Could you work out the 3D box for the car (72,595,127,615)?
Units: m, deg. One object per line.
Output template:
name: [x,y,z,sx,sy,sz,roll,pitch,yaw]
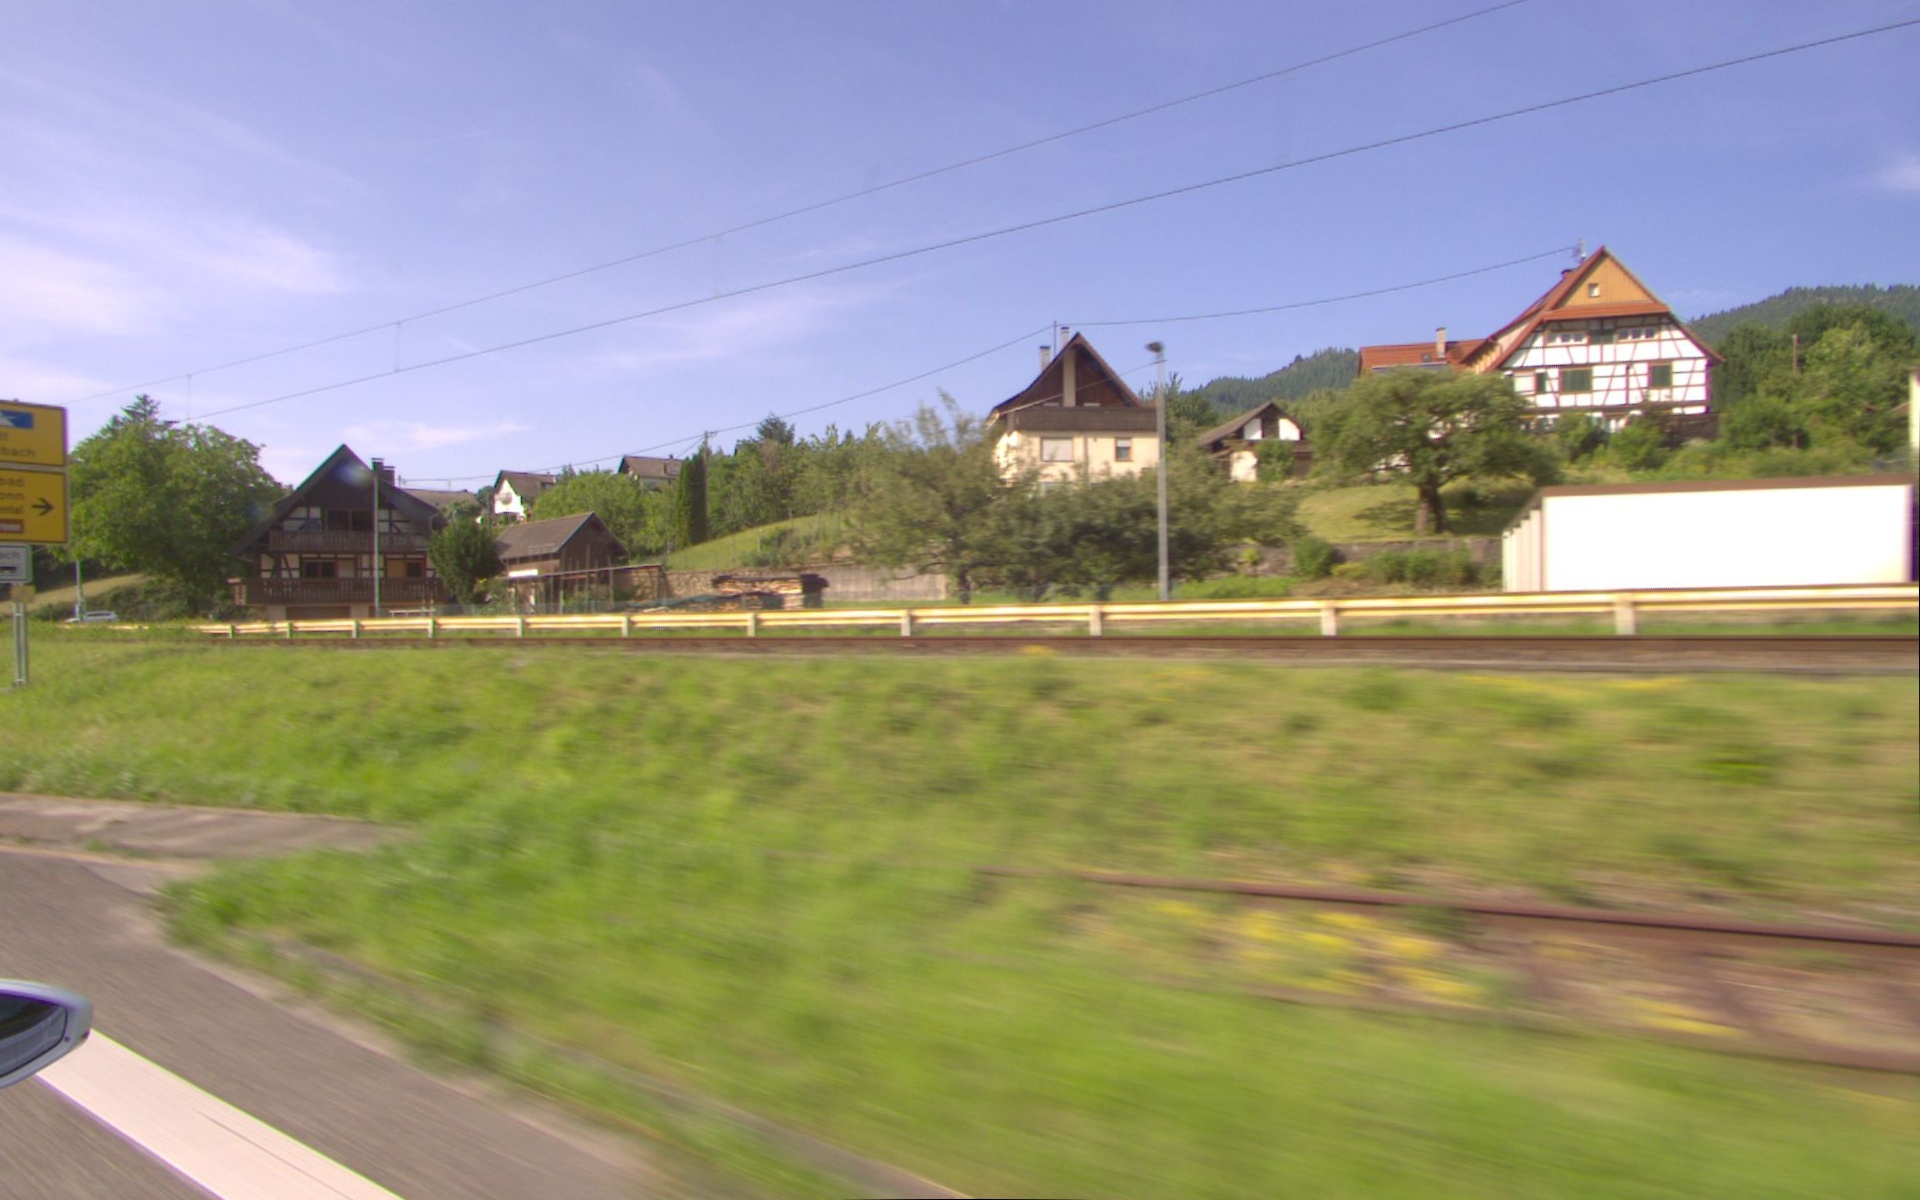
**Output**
car: [-84.379,0.464,98.272,3.953,1.907,1.862,0,1,-39]
